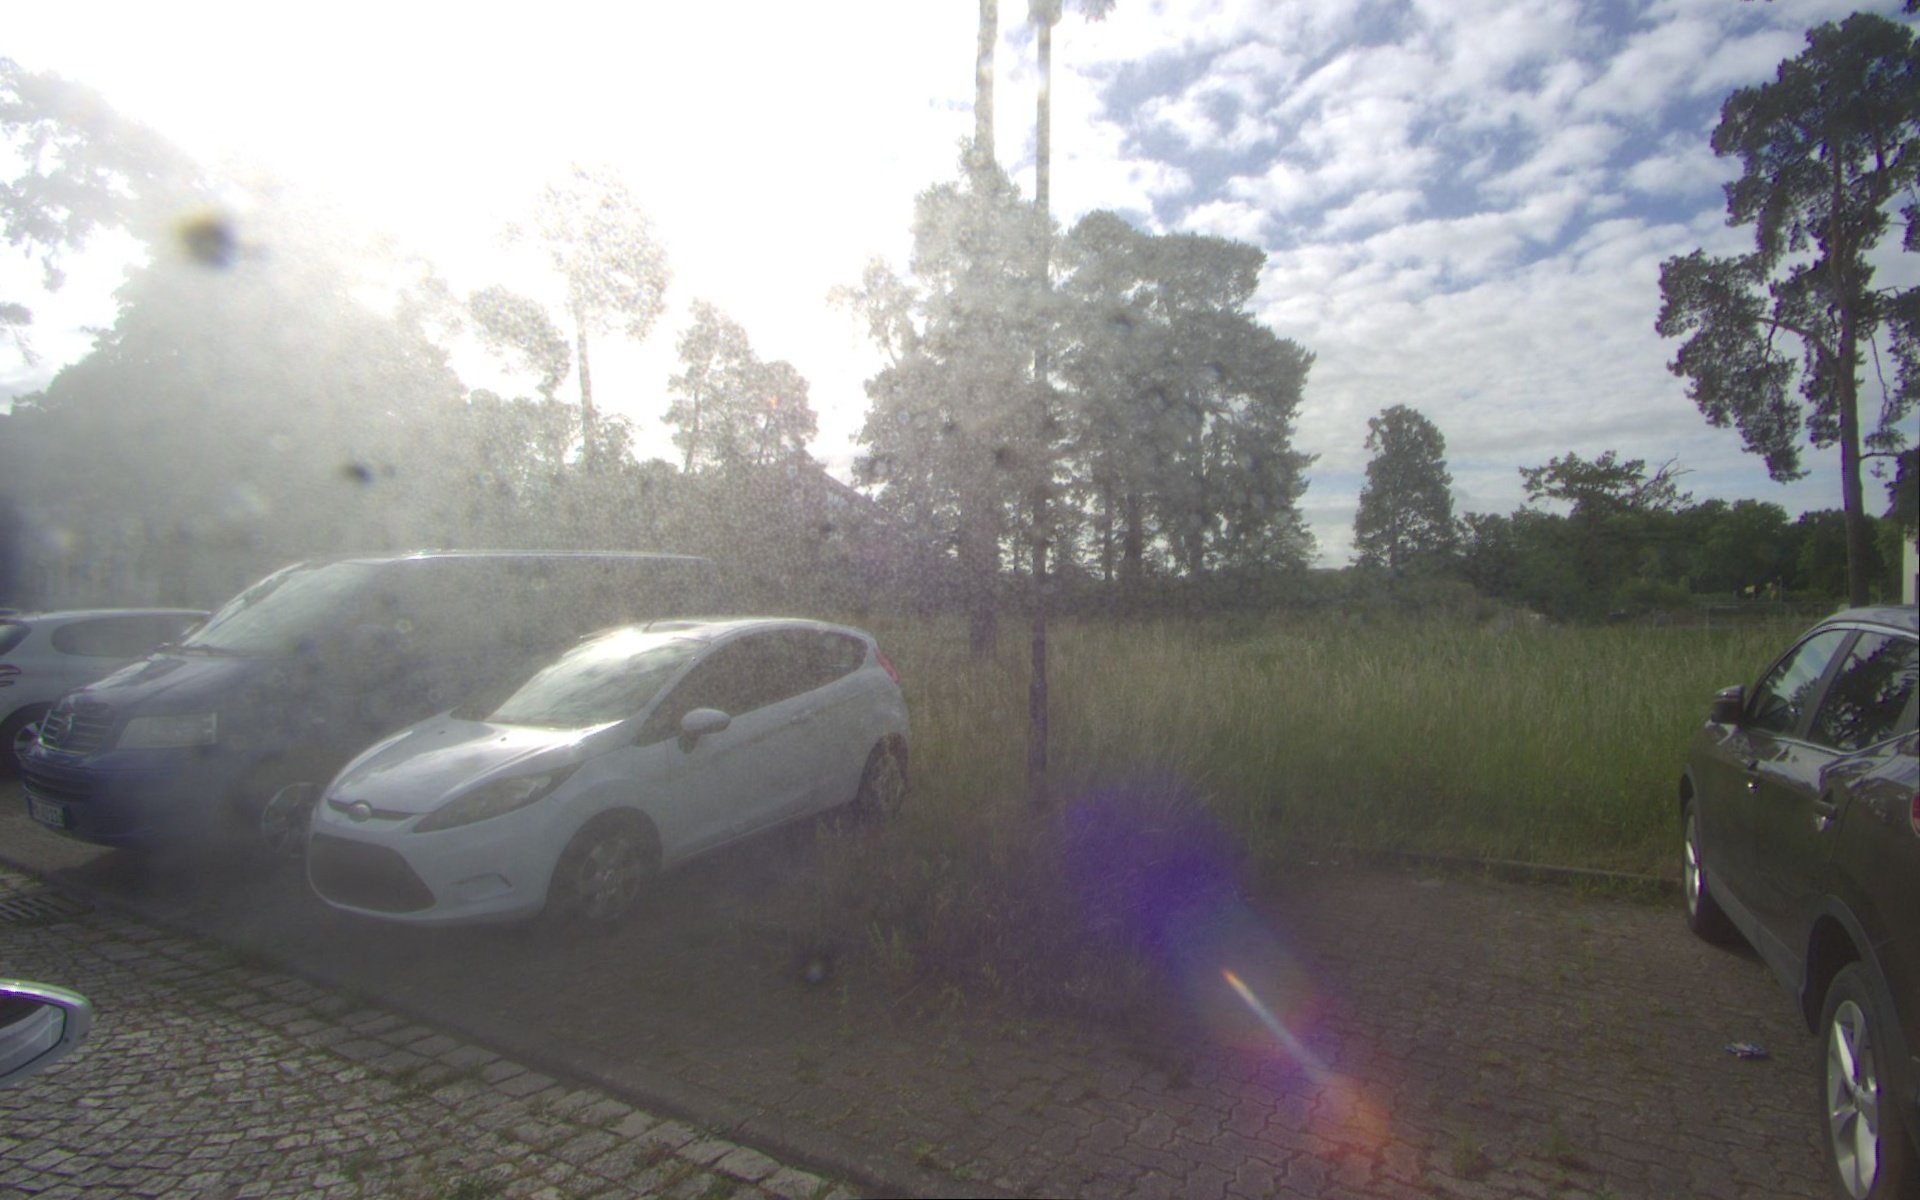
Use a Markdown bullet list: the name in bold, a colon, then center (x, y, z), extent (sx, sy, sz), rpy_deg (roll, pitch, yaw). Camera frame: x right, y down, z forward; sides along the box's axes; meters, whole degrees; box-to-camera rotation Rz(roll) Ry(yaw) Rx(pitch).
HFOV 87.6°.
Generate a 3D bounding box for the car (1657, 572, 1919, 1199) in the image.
- **car**: center (3.482, 0.780, 3.128), extent (1.735, 1.601, 3.946), rpy_deg (1, 0, 29)

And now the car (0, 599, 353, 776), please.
- **car**: center (-8.348, 0.772, 10.242), extent (1.638, 1.524, 3.289), rpy_deg (1, 0, 29)

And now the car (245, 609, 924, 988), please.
- **car**: center (-1.854, 0.826, 6.091), extent (1.629, 1.443, 3.718), rpy_deg (1, 1, 28)

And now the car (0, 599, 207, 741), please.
- **car**: center (-11.073, 0.762, 11.478), extent (1.635, 1.526, 3.602), rpy_deg (1, 0, 20)

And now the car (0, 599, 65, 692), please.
- **car**: center (-17.294, 0.741, 16.128), extent (1.637, 1.564, 3.987), rpy_deg (1, 0, 25)

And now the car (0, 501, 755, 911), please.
- **car**: center (-3.811, 0.556, 7.545), extent (1.712, 2.067, 4.776), rpy_deg (1, 0, 30)

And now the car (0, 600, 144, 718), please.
- **car**: center (-13.249, 0.770, 13.366), extent (1.635, 1.524, 3.296), rpy_deg (1, 0, 20)

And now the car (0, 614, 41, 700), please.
- **car**: center (-15.726, 0.853, 14.438), extent (1.637, 1.284, 3.292), rpy_deg (1, 0, 25)
